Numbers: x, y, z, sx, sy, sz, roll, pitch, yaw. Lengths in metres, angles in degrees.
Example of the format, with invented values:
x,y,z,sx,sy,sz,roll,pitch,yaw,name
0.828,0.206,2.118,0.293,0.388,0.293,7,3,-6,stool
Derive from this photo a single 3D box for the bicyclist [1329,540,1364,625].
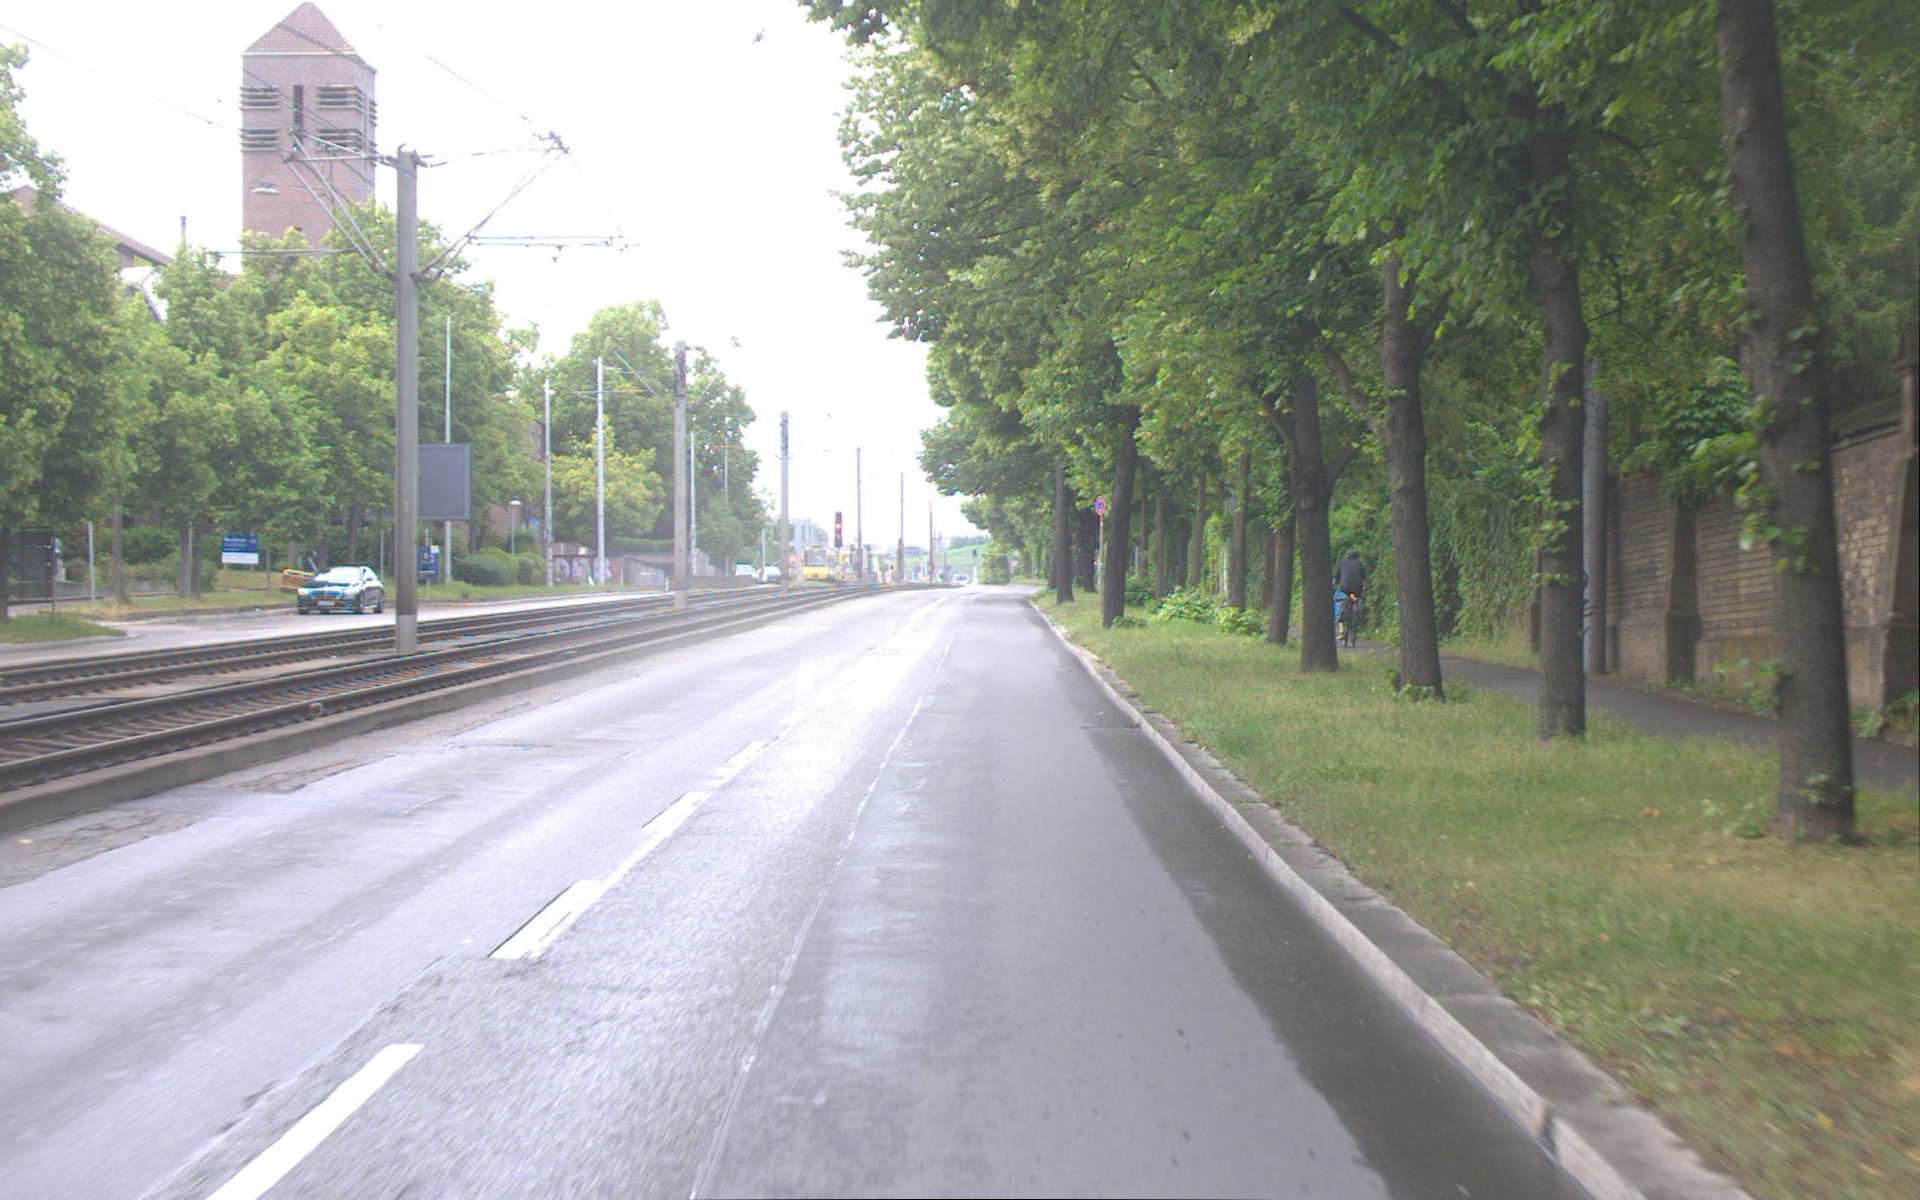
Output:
x,y,z,sx,sy,sz,roll,pitch,yaw,name
6.342,-0.282,56.469,0.535,1.385,0.666,0,0,4,bicyclist

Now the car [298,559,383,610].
x,y,z,sx,sy,sz,roll,pitch,yaw,name
-18.761,-0.492,104.208,1.794,1.525,4.622,0,1,-1,car

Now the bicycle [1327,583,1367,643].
x,y,z,sx,sy,sz,roll,pitch,yaw,name
6.362,0.200,56.571,0.543,0.945,2.549,0,1,4,bicycle
